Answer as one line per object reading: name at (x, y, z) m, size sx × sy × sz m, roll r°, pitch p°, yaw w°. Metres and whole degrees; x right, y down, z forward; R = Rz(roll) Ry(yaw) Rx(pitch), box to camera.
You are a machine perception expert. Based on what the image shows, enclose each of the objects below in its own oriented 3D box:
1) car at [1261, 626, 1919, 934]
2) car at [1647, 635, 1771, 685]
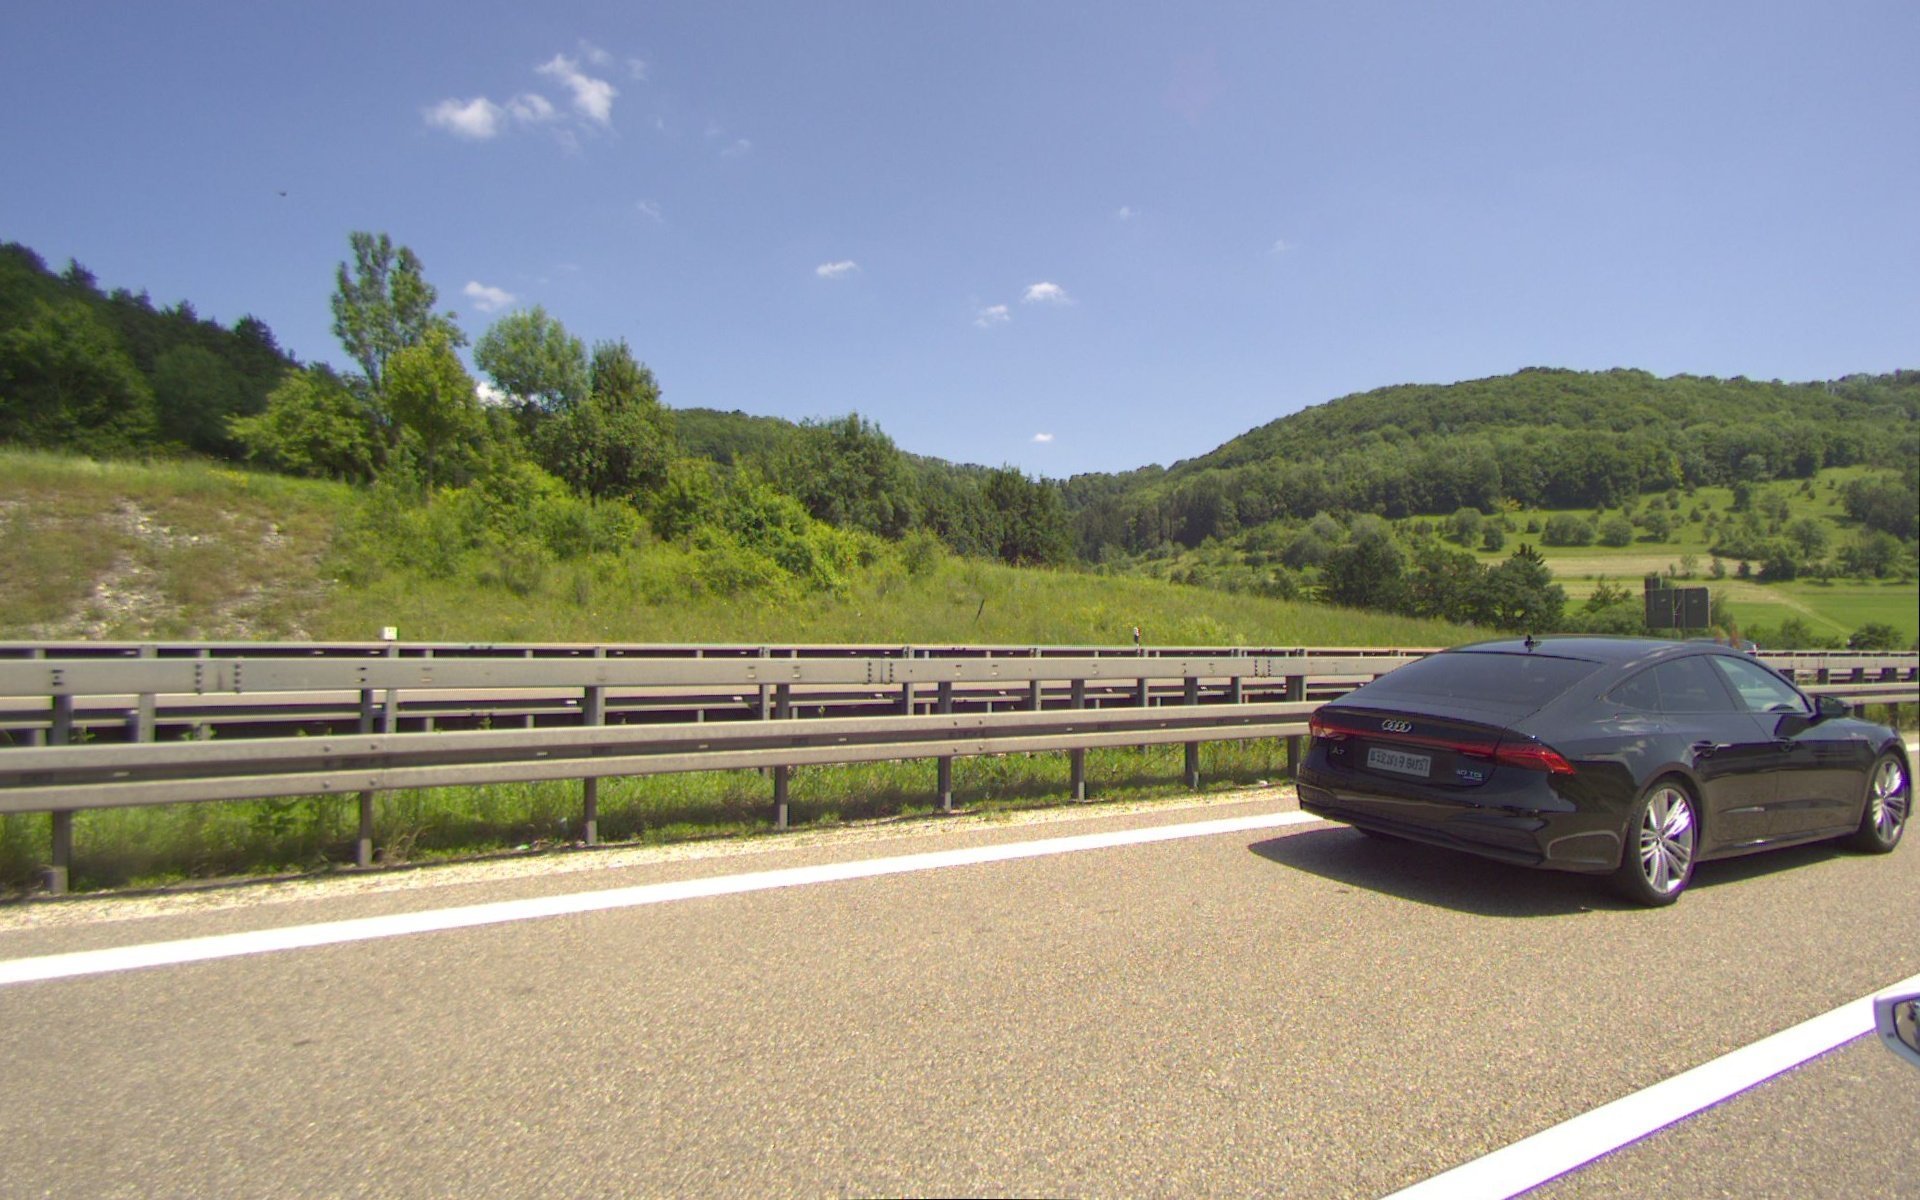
car at (4.440, 0.925, 6.700) m, size 4.910 × 1.409 × 1.792 m, roll 2°, pitch -1°, yaw -30°
car at (22.663, 1.786, 30.373) m, size 3.697 × 1.386 × 1.683 m, roll 2°, pitch -1°, yaw -30°
